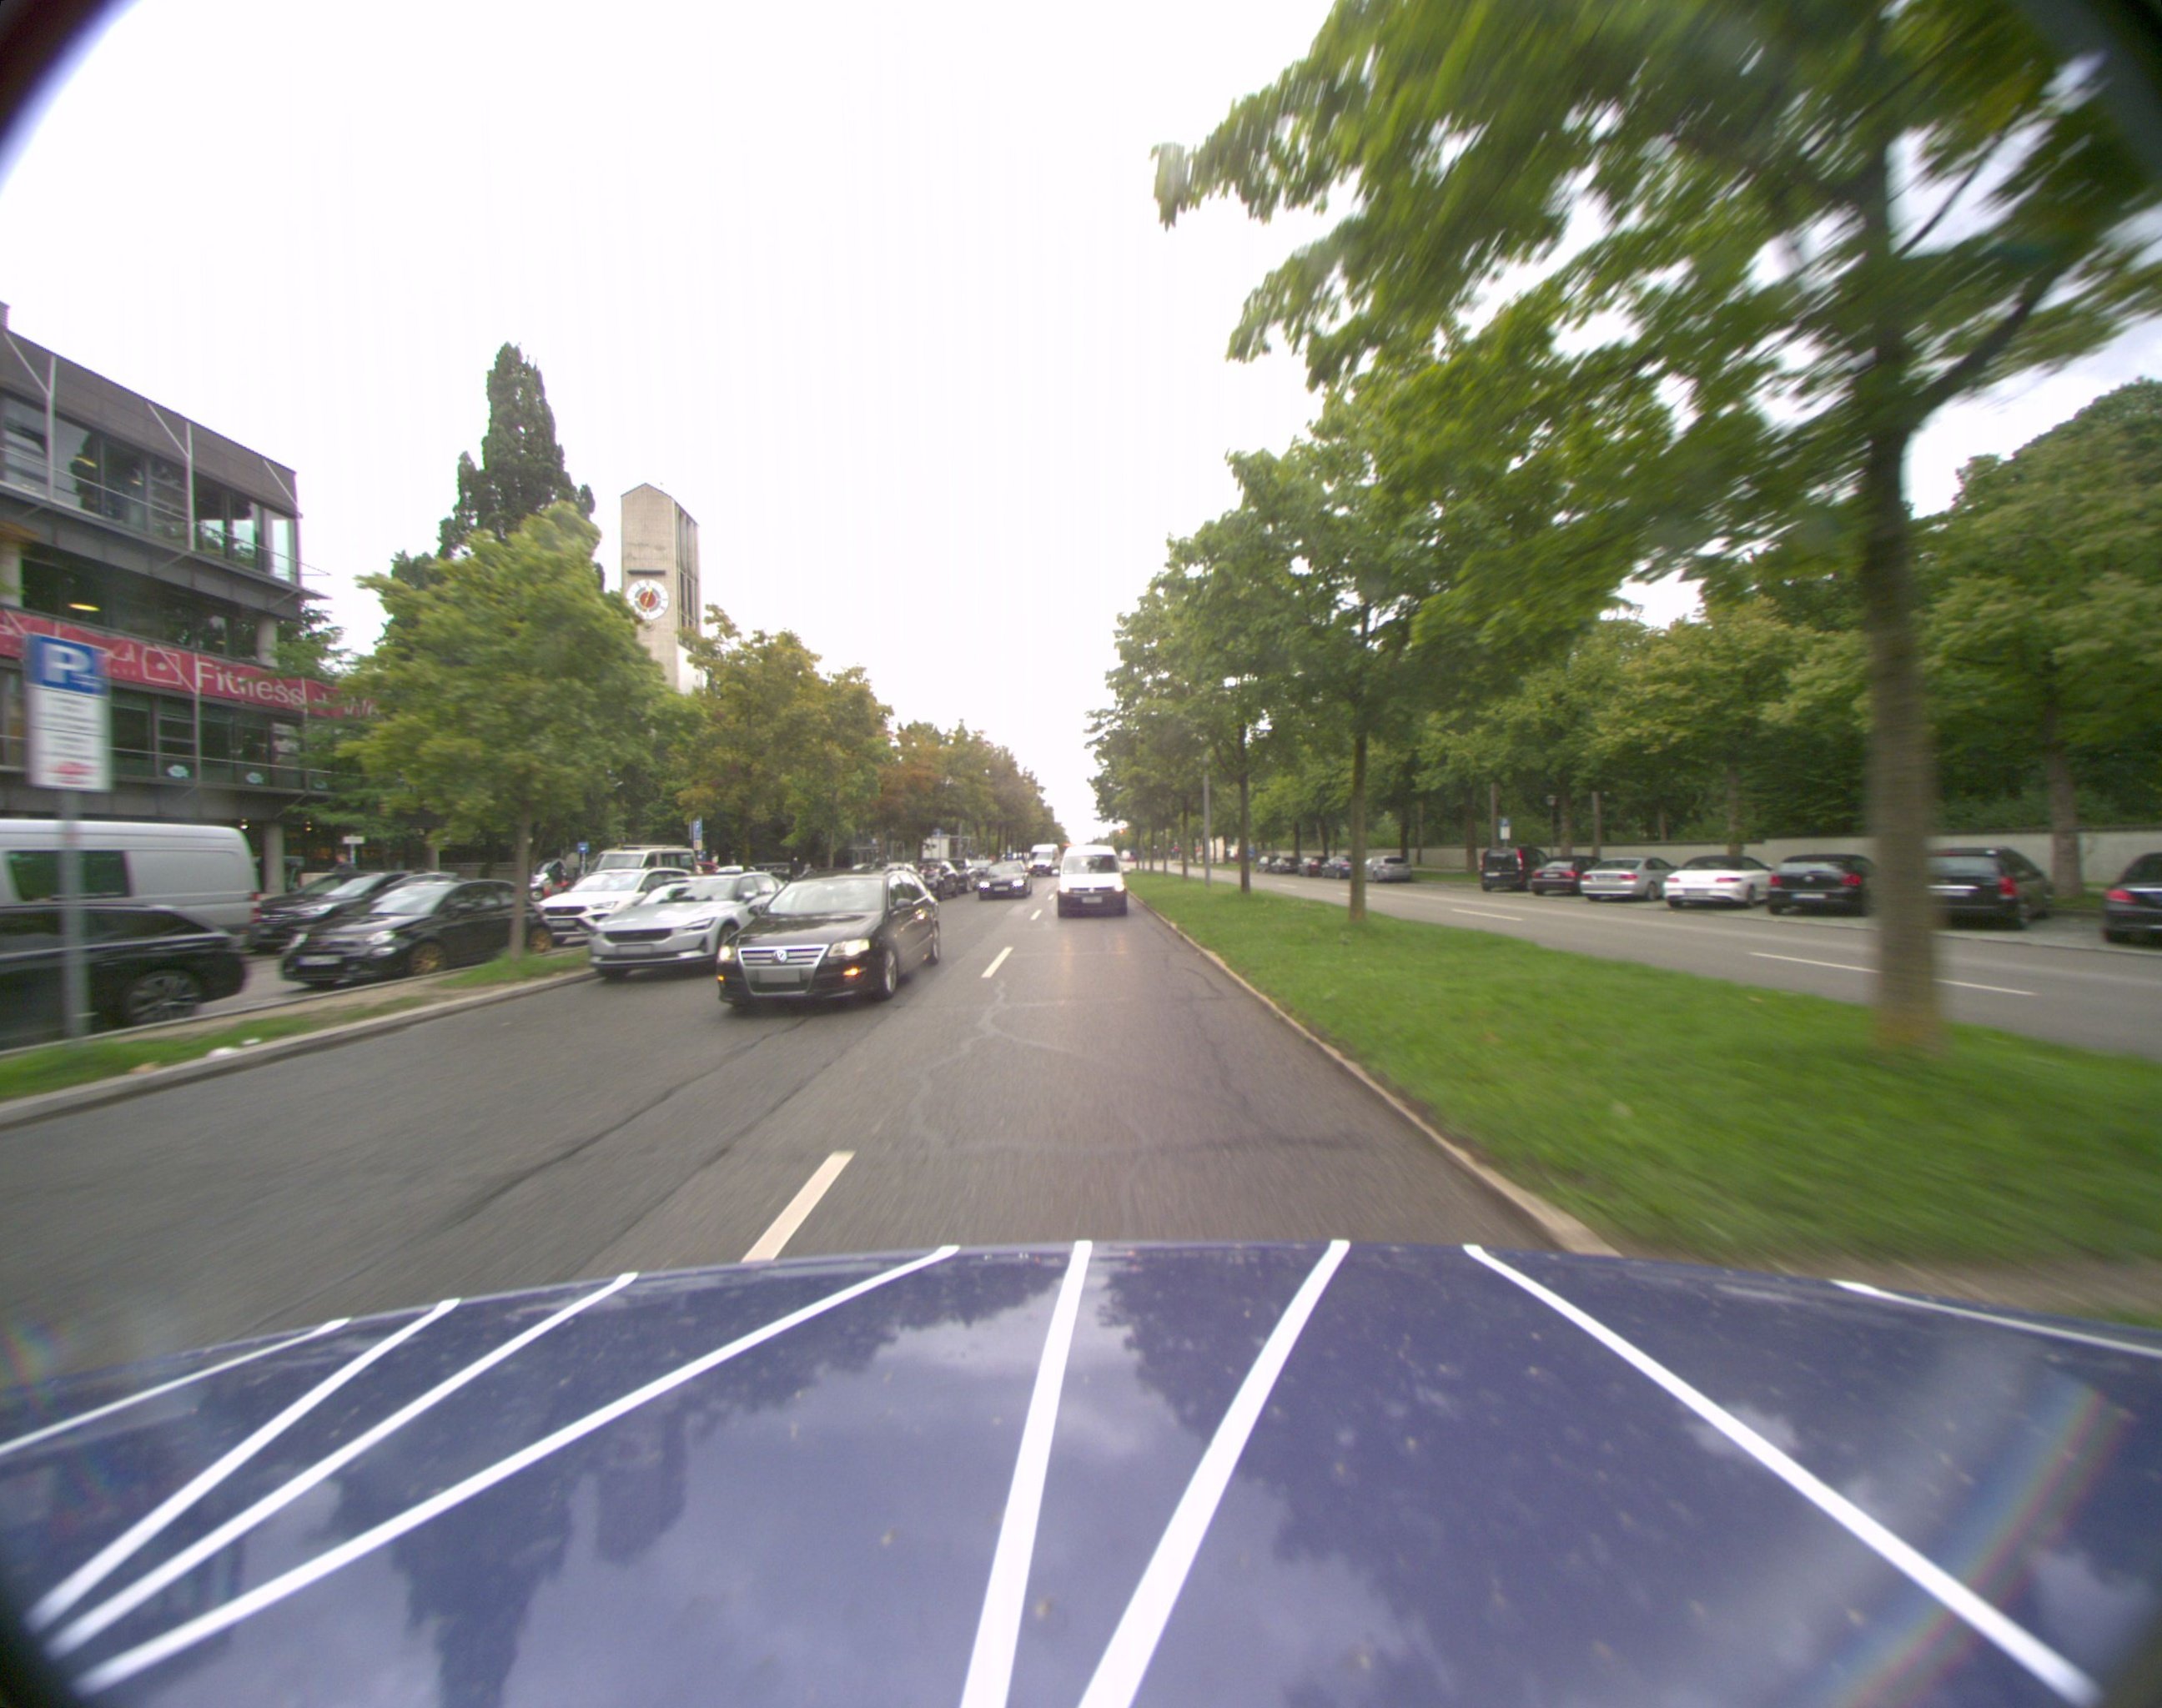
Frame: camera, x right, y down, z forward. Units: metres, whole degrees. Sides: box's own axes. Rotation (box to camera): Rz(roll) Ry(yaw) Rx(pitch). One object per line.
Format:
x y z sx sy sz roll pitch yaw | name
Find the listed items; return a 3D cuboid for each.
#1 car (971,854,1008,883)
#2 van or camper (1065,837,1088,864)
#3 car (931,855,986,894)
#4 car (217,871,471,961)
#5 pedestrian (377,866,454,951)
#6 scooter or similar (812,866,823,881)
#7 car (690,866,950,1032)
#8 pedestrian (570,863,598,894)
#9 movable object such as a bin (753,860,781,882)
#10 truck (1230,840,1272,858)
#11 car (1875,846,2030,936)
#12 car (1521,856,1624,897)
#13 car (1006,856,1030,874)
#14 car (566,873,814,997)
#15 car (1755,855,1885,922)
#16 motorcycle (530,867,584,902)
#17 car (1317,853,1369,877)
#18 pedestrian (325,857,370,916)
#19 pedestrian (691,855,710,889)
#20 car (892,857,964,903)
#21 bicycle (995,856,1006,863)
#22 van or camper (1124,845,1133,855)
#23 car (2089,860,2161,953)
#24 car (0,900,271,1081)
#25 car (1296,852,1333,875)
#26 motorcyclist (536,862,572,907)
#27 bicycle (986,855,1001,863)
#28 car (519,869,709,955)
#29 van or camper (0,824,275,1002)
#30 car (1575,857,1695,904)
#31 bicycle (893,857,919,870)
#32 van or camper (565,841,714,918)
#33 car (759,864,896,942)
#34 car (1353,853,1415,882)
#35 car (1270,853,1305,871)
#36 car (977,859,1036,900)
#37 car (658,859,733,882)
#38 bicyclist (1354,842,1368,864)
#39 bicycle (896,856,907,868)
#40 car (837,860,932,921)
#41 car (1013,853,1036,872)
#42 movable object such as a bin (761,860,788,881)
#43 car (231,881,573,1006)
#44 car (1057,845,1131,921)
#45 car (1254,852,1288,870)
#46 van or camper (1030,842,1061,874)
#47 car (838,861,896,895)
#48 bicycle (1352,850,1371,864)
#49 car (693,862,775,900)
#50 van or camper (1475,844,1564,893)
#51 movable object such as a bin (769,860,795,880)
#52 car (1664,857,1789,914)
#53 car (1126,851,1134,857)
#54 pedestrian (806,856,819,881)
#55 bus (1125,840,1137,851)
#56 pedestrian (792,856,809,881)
-5.534 0.848 46.449 1.766 1.580 4.452 -1 0 -1 | car
-0.548 -0.460 96.306 2.780 3.219 7.074 -1 0 1 | van or camper
-5.885 0.929 36.945 1.766 1.691 4.820 -1 0 1 | car
-16.284 1.275 17.135 1.752 1.654 4.009 -1 0 1 | car
-15.238 1.224 17.431 0.877 1.840 0.903 -2 1 1 | pedestrian
-18.796 1.368 54.169 0.501 1.012 0.833 1 1 0 | scooter or similar
-2.937 0.966 9.738 1.752 1.466 4.670 -2 0 -1 | car
-21.646 1.063 33.127 0.733 1.283 0.698 2 2 5 | pedestrian
-21.459 1.146 51.910 1.339 1.401 1.314 -1 1 -1 | movable object such as a bin
34.551 -0.982 154.761 7.817 3.468 2.772 -1 1 1 | truck
18.093 0.664 15.722 4.115 1.588 1.914 -1 0 -38 | car
18.279 0.794 28.242 3.586 1.346 1.749 -1 0 -30 | car
-5.459 0.913 66.233 1.657 1.425 4.482 -1 0 0 | car
-6.029 1.141 12.453 1.711 1.445 4.511 -3 0 -1 | car
18.394 0.765 18.853 4.249 1.414 1.914 -1 0 -40 | car
-21.343 1.220 30.981 0.697 1.283 2.066 3 0 0 | motorcycle
16.794 0.669 48.878 1.590 1.450 4.798 -2 0 -1 | car
-22.039 0.957 22.847 0.732 1.741 0.576 -1 1 -9 | pedestrian
-19.879 0.947 39.701 0.576 1.741 0.732 -1 1 5 | pedestrian
-5.932 0.962 30.004 1.726 1.642 4.390 -1 0 3 | car
-13.497 0.859 127.187 1.810 1.136 0.567 1 1 6 | bicycle
12.610 -1.061 202.907 2.183 2.631 6.951 1 0 1 | van or camper
18.063 0.796 12.221 4.209 1.314 1.914 -1 0 -33 | car
-10.321 1.277 6.432 1.688 1.445 4.734 -1 0 2 | car
16.619 0.629 54.290 1.574 1.494 4.304 -2 0 4 | car
-21.348 1.213 30.800 0.693 1.727 0.953 3 1 0 | motorcyclist
-13.877 0.786 120.528 2.344 1.151 0.529 1 0 0 | bicycle
-10.231 1.186 17.047 1.688 1.576 4.009 -1 0 1 | car
-16.387 0.853 11.442 2.029 2.543 5.956 -1 0 1 | van or camper
17.795 0.796 24.373 4.007 1.346 1.846 -1 0 -34 | car
-18.162 0.963 78.900 2.548 1.273 0.647 -1 1 0 | bicycle
-16.335 0.853 28.595 1.998 2.543 5.956 -1 0 1 | van or camper
-5.935 1.074 18.397 1.769 1.537 4.424 -1 0 0 | car
16.766 0.701 42.307 1.640 1.430 4.809 -2 0 2 | car
16.960 0.638 62.628 1.663 1.388 4.706 -2 0 0 | car
-2.894 0.965 30.575 1.819 1.421 4.671 -1 0 1 | car
-22.020 0.918 43.527 3.450 1.145 1.561 -2 0 -3 | car
22.613 -0.072 61.359 0.707 1.737 0.922 -1 1 1 | bicyclist
-19.522 0.895 82.689 0.606 1.273 2.550 -1 0 1 | bicycle
-6.027 1.067 23.873 1.769 1.642 4.424 -1 0 0 | car
-5.312 0.775 71.781 1.791 1.665 4.595 -1 0 0 | car
-21.469 1.141 53.260 1.339 1.401 1.314 -1 1 -1 | movable object such as a bin
-10.224 1.243 11.946 1.688 1.445 4.009 -1 0 1 | car
0.275 0.696 20.865 1.752 1.809 4.670 -1 0 -1 | car
17.083 0.573 68.496 1.804 1.481 4.915 -2 0 0 | car
-2.986 0.313 64.850 2.183 2.546 7.074 -1 0 1 | van or camper
-10.462 1.127 37.474 1.768 1.479 3.999 -3 0 -2 | car
22.617 0.225 61.254 0.715 1.154 2.116 -1 0 1 | bicycle
-16.509 1.247 36.400 1.998 1.641 4.000 -1 0 1 | car
18.016 0.552 31.154 4.133 1.844 1.845 -1 1 -40 | van or camper
-21.471 1.137 54.607 1.339 1.401 1.314 -1 1 -1 | movable object such as a bin
18.030 0.802 21.170 4.050 1.373 1.670 -1 0 -35 | car
12.082 0.039 188.109 1.747 1.443 4.657 1 0 0 | car
-18.797 1.004 53.245 0.540 1.711 0.987 1 1 1 | pedestrian
15.182 -2.518 230.299 2.752 3.324 12.047 0 0 -1 | bus
-19.789 0.991 53.542 0.830 1.711 0.940 1 1 0 | pedestrian
